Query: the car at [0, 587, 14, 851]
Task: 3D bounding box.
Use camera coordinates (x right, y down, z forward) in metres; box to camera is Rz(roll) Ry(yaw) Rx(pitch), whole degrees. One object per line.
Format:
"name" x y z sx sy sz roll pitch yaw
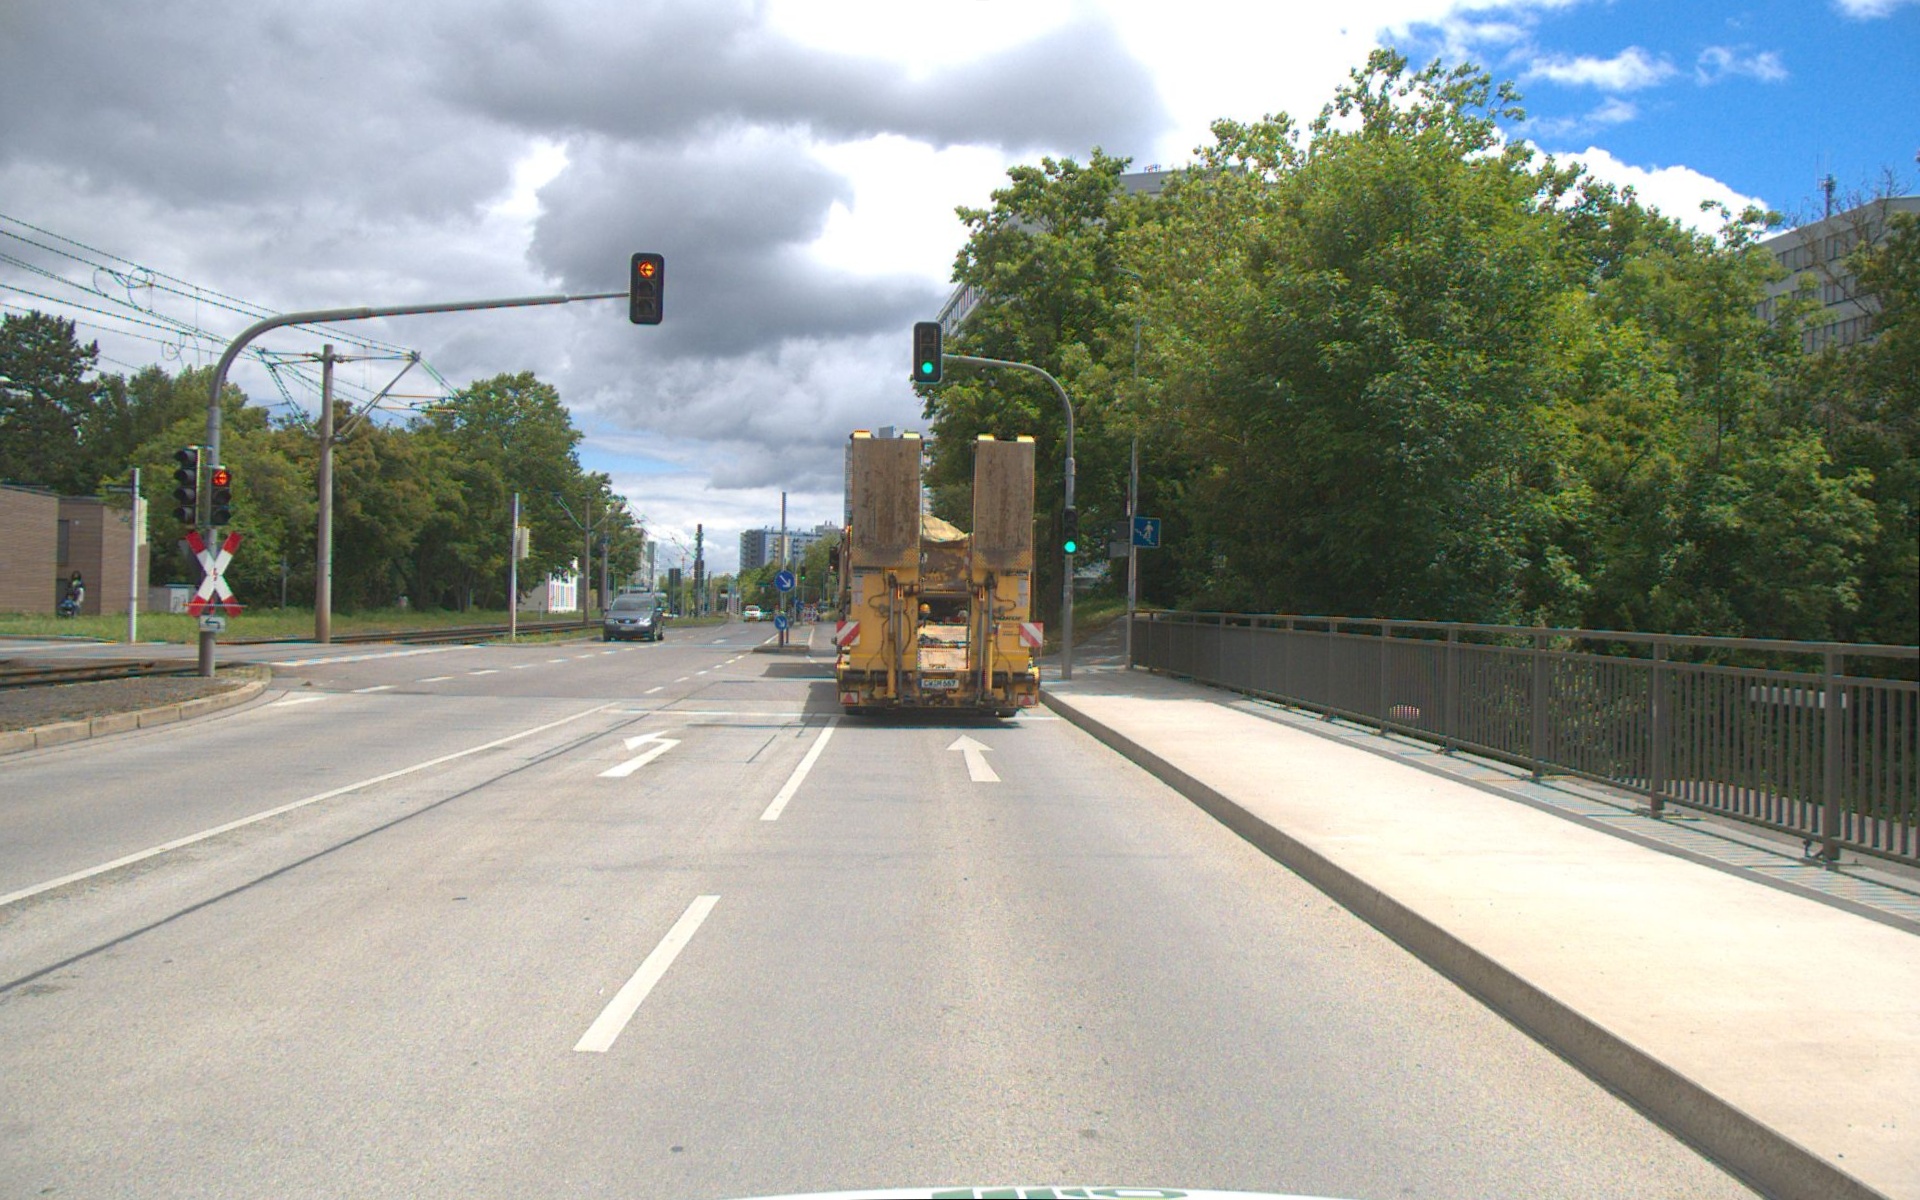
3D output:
"car" -6.376 0.676 7.991 1.561 1.553 3.653 1 -1 -2

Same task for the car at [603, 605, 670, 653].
"car" -11.185 0.987 57.440 1.749 1.597 4.341 1 -1 -4

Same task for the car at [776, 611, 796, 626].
"car" -15.952 1.705 151.725 1.749 1.294 4.341 1 -1 -4

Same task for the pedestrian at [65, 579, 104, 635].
"pedestrian" -29.556 0.225 55.854 0.785 1.843 0.809 3 -1 0

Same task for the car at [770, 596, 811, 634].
"car" -9.203 0.803 90.077 1.954 1.959 3.997 3 0 -3

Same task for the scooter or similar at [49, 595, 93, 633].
"scooter or similar" -29.585 0.457 55.047 0.872 1.205 0.972 3 -1 -1

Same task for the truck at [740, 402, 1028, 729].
"truck" -0.709 -0.356 25.815 3.247 3.715 12.564 2 0 2

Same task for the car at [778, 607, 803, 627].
"car" -15.128 1.508 147.520 1.954 1.646 3.997 3 0 -3

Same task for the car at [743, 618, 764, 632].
"car" -20.447 2.472 163.872 1.749 1.294 4.341 1 -1 -4

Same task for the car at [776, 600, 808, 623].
"car" -11.443 0.768 113.071 1.954 1.445 3.997 3 0 -3

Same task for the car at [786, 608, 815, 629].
"car" -11.834 1.388 123.051 1.954 1.445 3.997 3 0 -3
